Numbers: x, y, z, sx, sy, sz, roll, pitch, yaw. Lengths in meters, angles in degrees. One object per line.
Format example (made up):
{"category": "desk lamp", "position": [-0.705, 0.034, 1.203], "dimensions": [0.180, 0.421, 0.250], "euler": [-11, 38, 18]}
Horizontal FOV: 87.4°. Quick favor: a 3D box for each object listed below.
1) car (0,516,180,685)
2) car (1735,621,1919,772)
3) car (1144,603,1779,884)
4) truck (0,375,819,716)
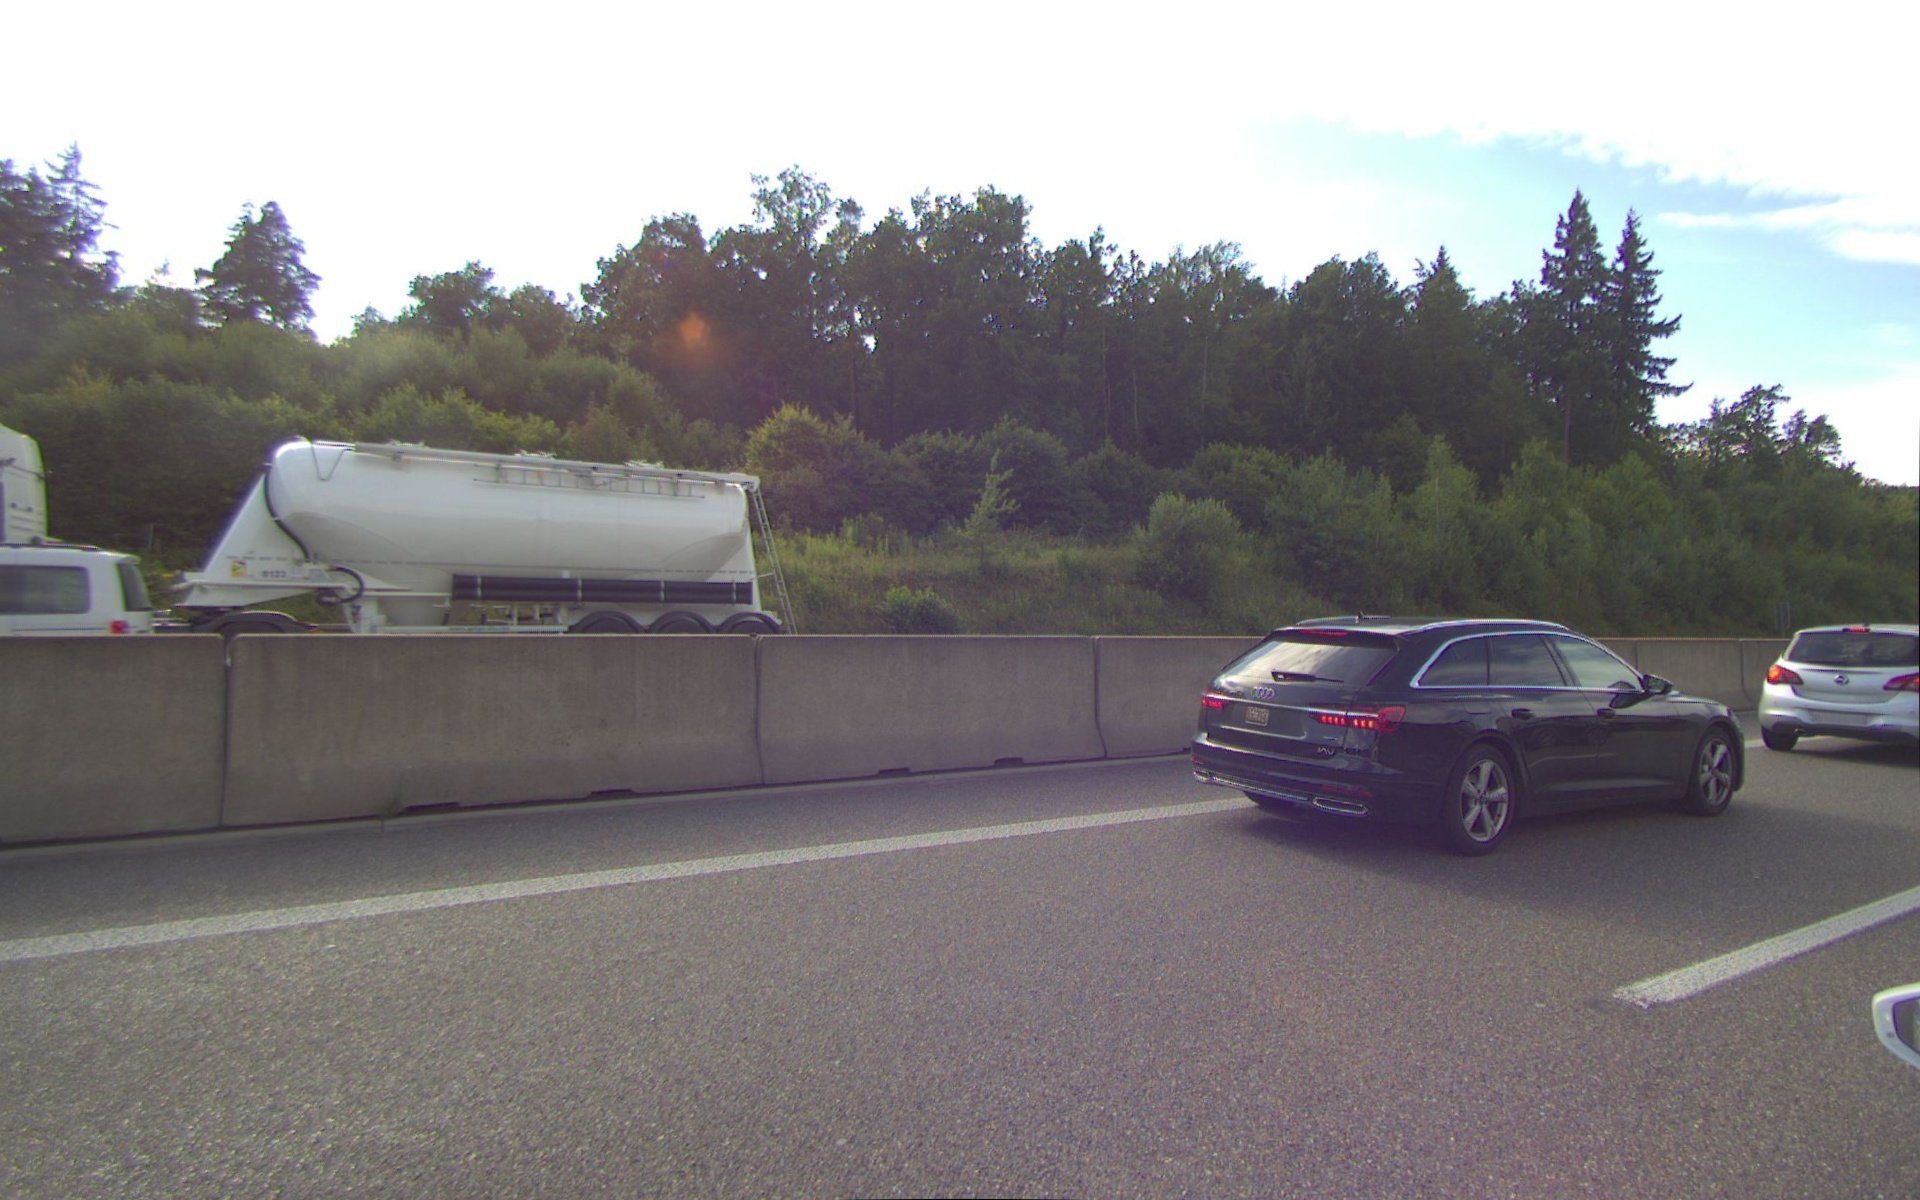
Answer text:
{"category": "car", "position": [-11.105, -0.024, 10.621], "dimensions": [4.274, 1.735, 1.842], "euler": [1, 0, -31]}
{"category": "car", "position": [10.895, 1.004, 11.611], "dimensions": [3.994, 1.485, 1.738], "euler": [1, -1, -31]}
{"category": "car", "position": [3.838, 0.828, 7.453], "dimensions": [4.794, 1.491, 1.873], "euler": [1, 0, -30]}
{"category": "truck", "position": [-9.318, -0.589, 16.676], "dimensions": [13.755, 4.412, 2.917], "euler": [2, 0, -32]}
